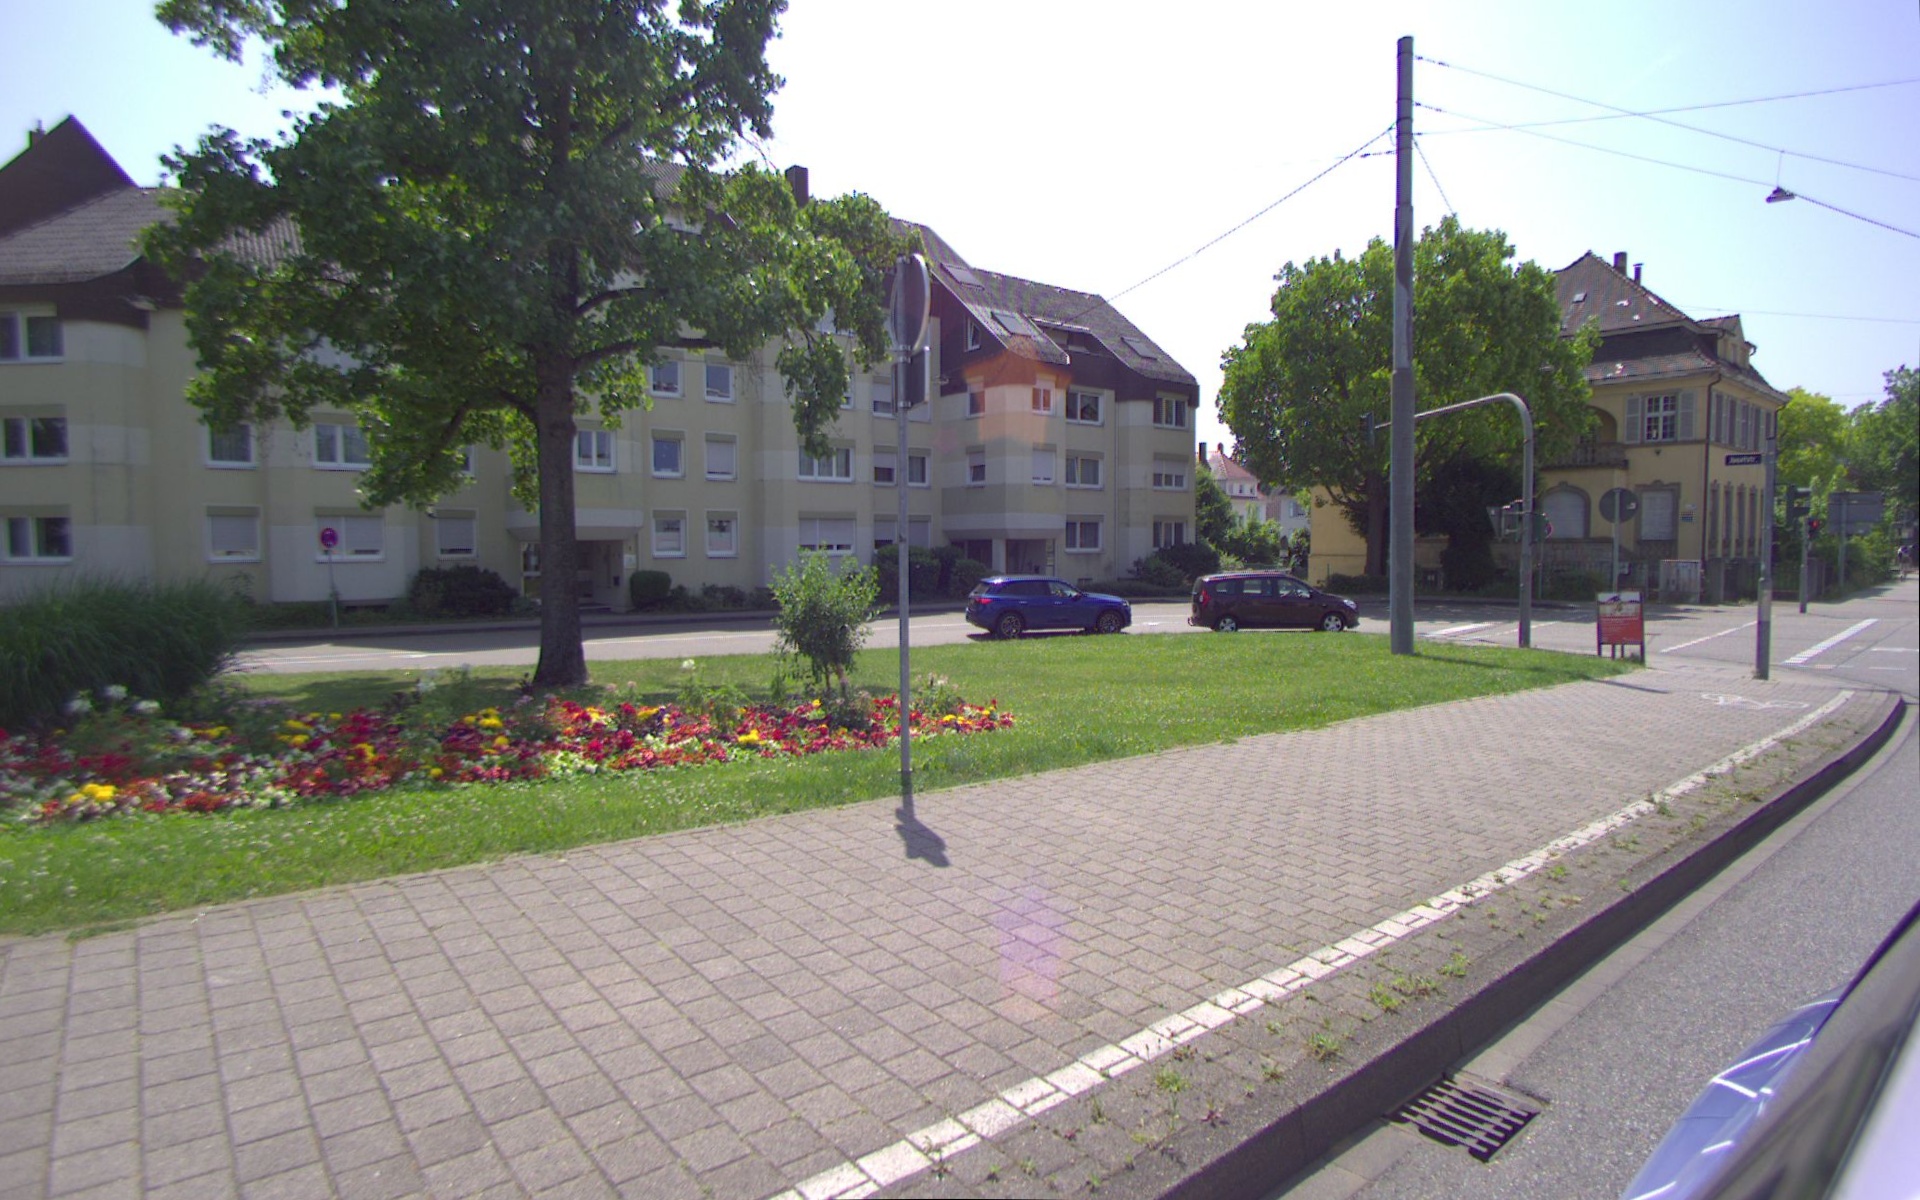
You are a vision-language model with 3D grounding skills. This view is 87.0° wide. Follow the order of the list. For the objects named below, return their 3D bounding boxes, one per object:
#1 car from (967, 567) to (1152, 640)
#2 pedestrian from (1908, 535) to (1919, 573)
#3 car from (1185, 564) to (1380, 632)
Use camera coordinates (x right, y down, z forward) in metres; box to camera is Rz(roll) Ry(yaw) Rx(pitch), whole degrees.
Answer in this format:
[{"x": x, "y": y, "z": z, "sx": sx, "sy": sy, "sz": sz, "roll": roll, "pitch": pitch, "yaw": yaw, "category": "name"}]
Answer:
[{"x": 2.714, "y": 0.034, "z": 28.055, "sx": 4.670, "sy": 1.721, "sz": 2.005, "roll": -2, "pitch": 4, "yaw": -12, "category": "car"}, {"x": 48.663, "y": -2.344, "z": 51.404, "sx": 0.732, "sy": 1.941, "sz": 0.620, "roll": -3, "pitch": 4, "yaw": -43, "category": "pedestrian"}, {"x": 8.660, "y": -0.074, "z": 27.549, "sx": 4.735, "sy": 1.651, "sz": 1.916, "roll": -1, "pitch": 3, "yaw": 7, "category": "car"}]
